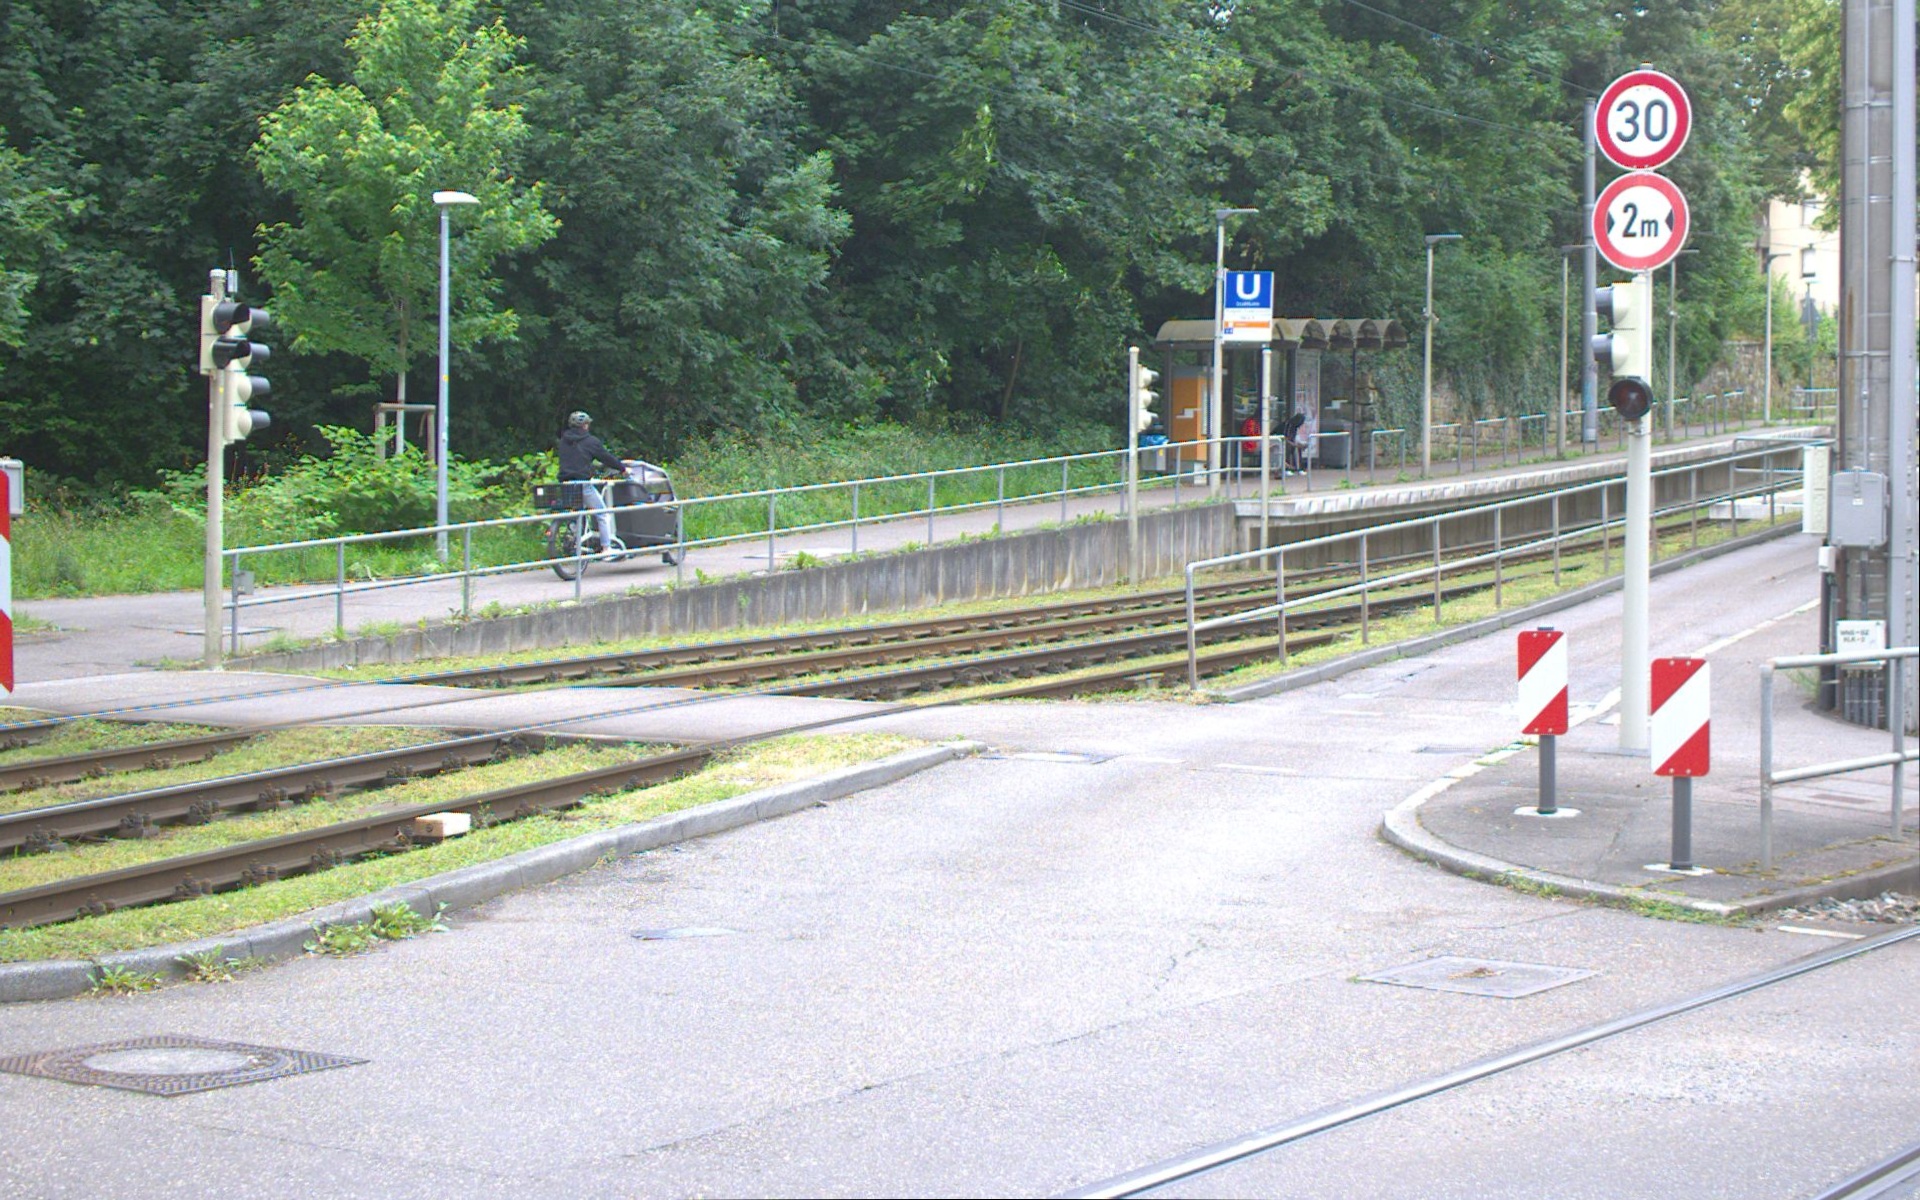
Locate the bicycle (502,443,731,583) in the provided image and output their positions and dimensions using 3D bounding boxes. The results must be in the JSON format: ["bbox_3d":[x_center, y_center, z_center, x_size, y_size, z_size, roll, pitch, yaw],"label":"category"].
[{"bbox_3d":[-3.695,-0.976,37.408,0.734,1.284,3.342,5,7,27],"label":"bicycle"}]

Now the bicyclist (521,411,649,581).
[{"bbox_3d":[-4.006,-1.132,36.802,0.734,1.705,1.291,5,7,27],"label":"bicyclist"}]

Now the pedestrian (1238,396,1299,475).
[{"bbox_3d":[5.367,-2.864,59.852,0.773,1.321,0.786,5,5,25],"label":"pedestrian"}]

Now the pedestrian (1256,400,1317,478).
[{"bbox_3d":[5.791,-2.856,60.952,0.773,1.321,0.786,5,3,25],"label":"pedestrian"}]
